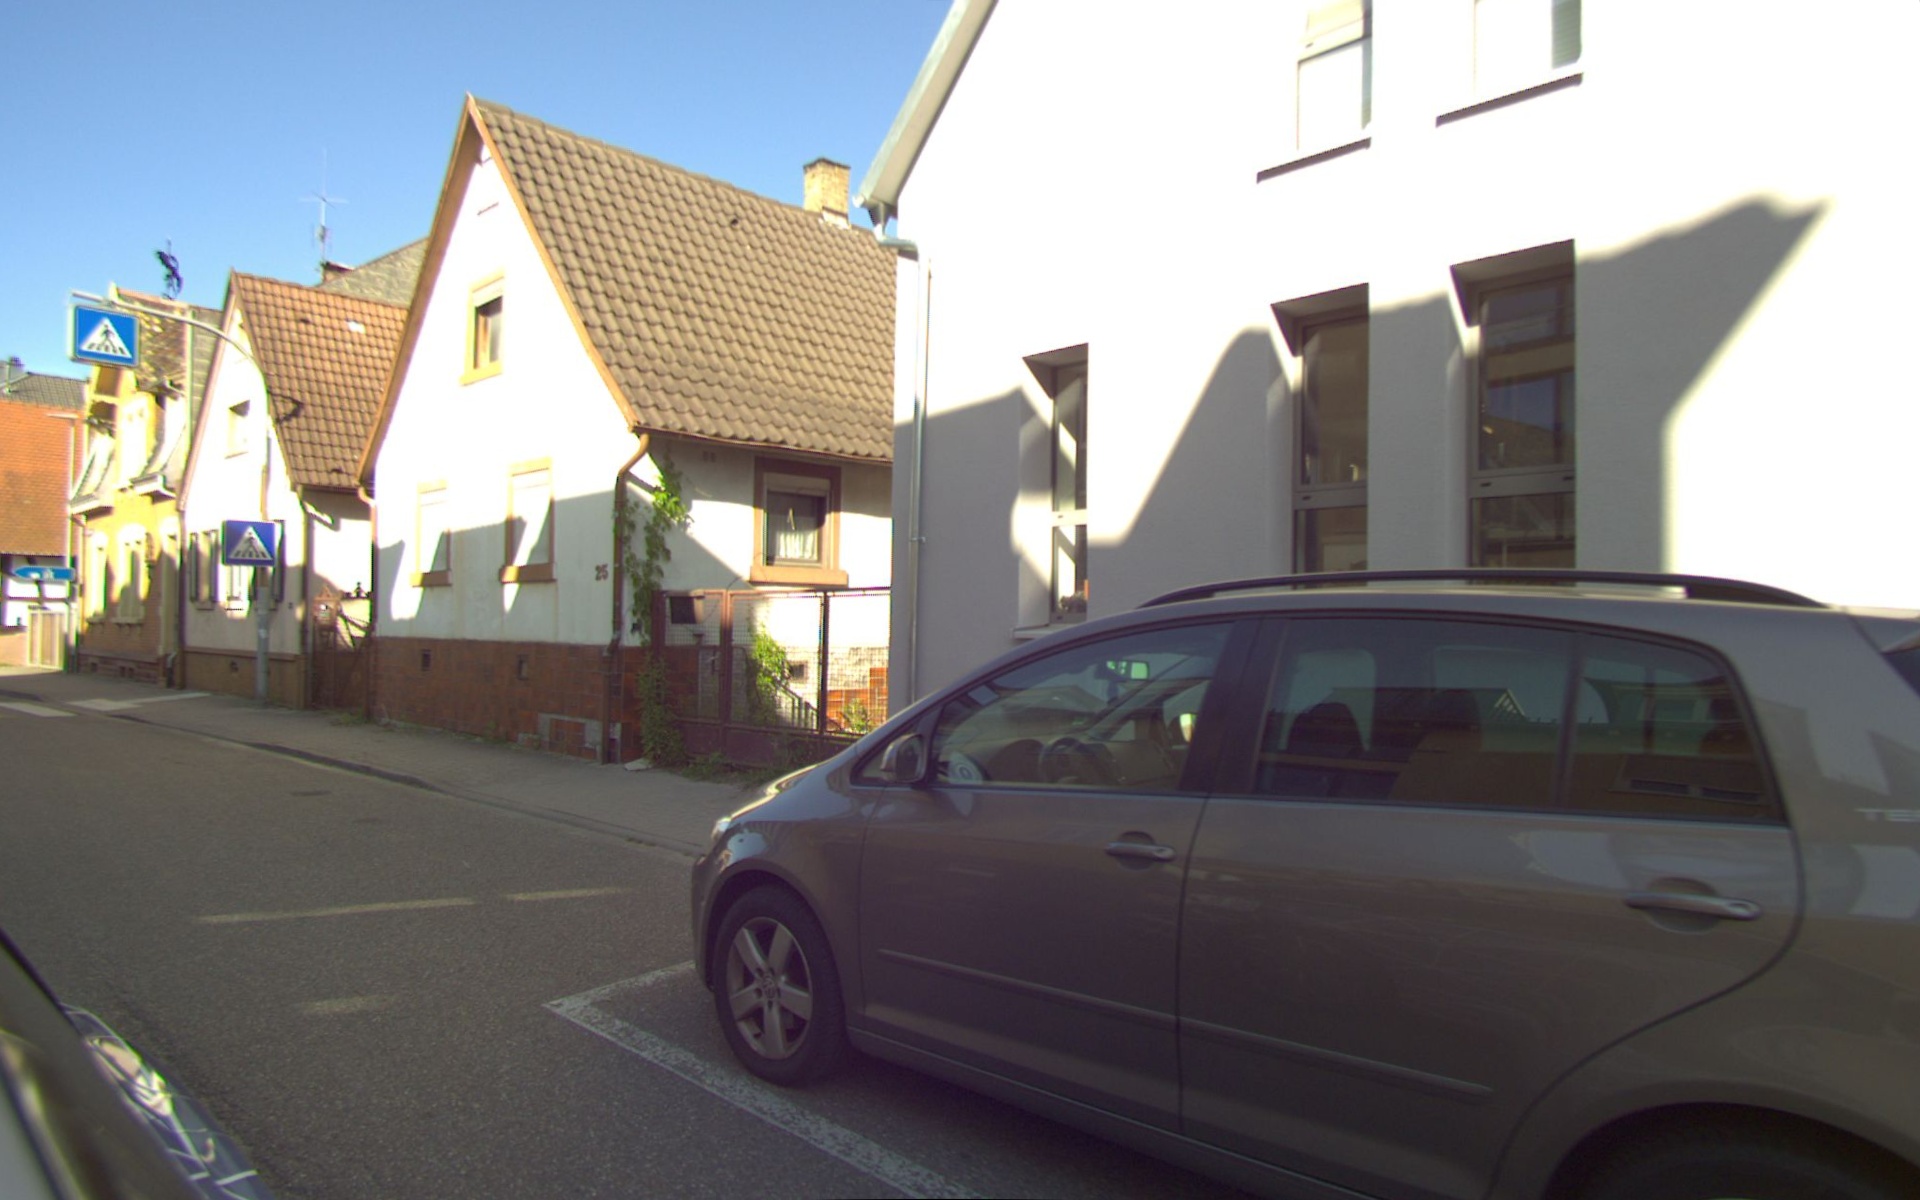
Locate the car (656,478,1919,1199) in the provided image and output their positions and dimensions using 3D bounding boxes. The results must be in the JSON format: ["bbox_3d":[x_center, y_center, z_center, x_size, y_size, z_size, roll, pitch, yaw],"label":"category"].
[{"bbox_3d":[1.022,0.656,2.934,3.997,1.626,1.725,0,-1,40],"label":"car"}]
